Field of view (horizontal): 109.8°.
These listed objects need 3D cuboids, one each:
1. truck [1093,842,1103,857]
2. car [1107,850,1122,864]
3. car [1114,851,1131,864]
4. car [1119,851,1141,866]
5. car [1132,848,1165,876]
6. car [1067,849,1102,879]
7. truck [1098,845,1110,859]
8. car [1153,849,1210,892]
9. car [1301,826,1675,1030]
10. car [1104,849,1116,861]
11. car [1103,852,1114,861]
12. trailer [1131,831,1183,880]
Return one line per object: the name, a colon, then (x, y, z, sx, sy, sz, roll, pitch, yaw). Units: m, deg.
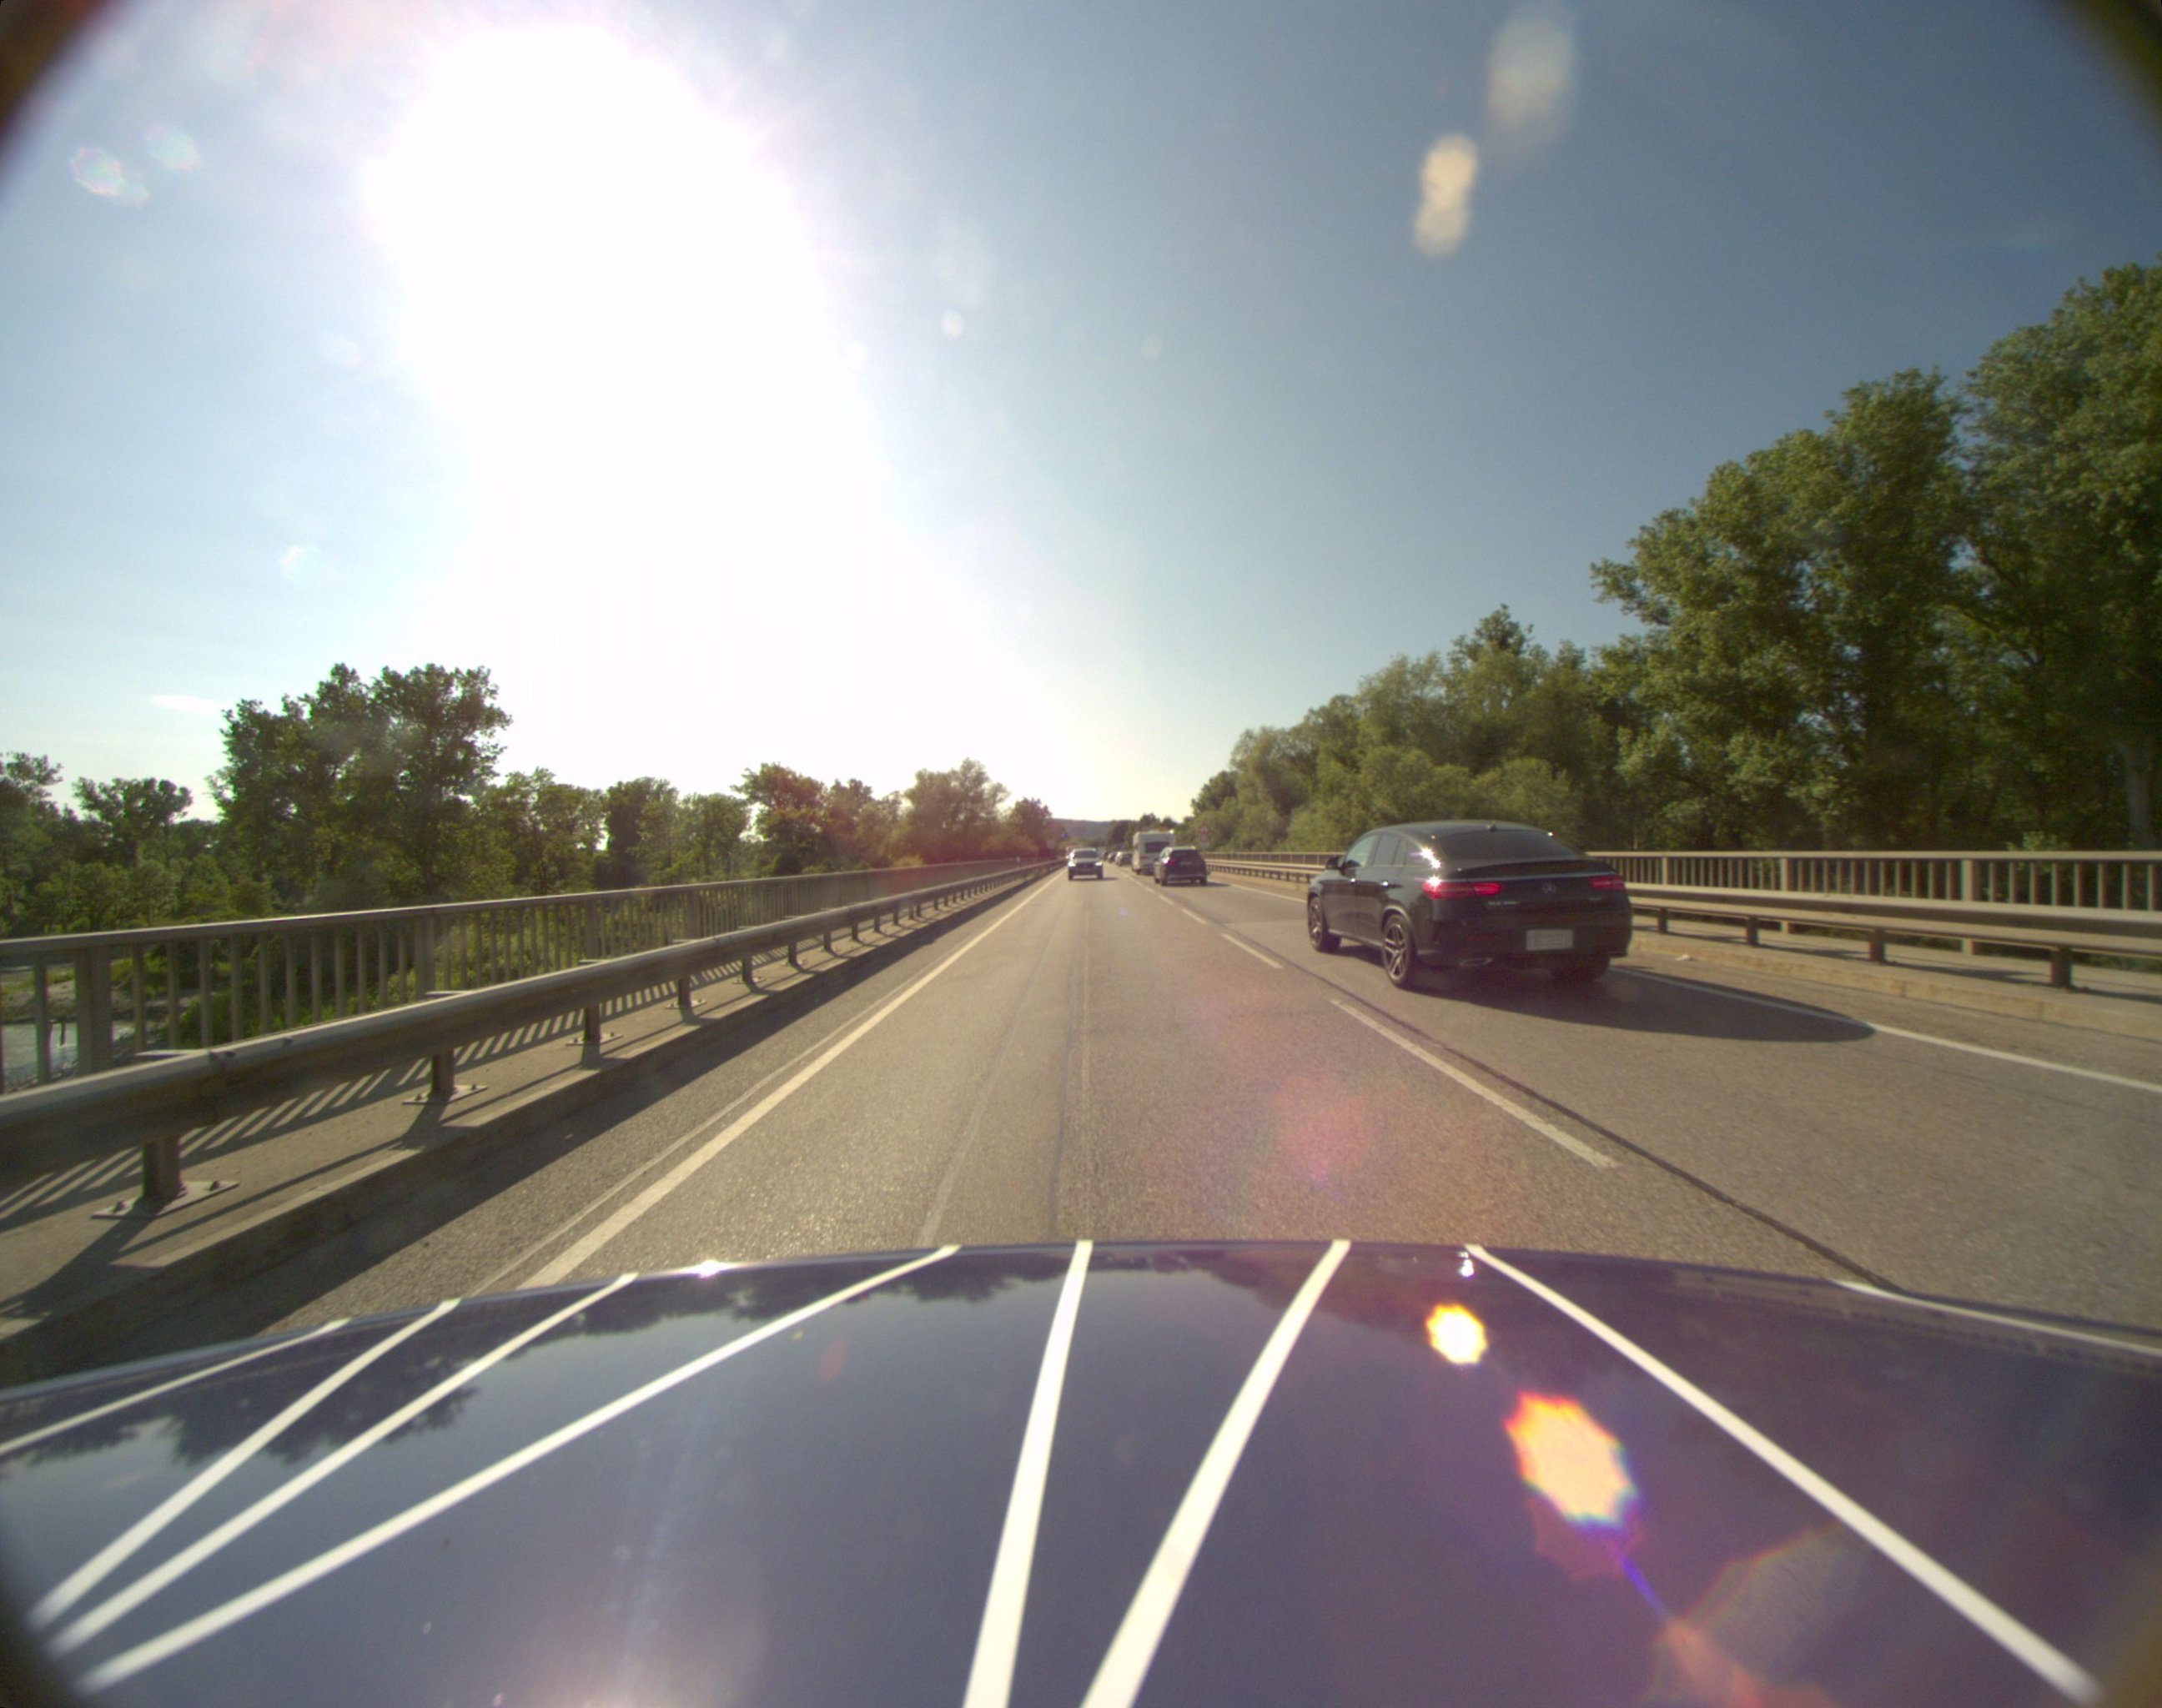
truck: (4.998, -1.257, 228.678, 2.744, 4.303, 8.129, -2, 0, 0)
car: (4.654, 0.382, 105.524, 1.972, 1.796, 4.530, -2, 0, 1)
car: (4.967, 0.377, 90.886, 1.736, 1.427, 4.486, 2, 0, 0)
car: (4.929, 0.462, 77.311, 1.791, 1.412, 4.650, -2, 0, -1)
car: (4.887, 0.528, 55.579, 1.988, 1.843, 5.008, -4, 0, 1)
car: (0.258, 0.533, 43.388, 1.871, 1.598, 4.380, 0, 0, 2)
truck: (5.748, -0.555, 190.326, 2.620, 3.235, 6.966, -2, 0, 0)
car: (4.263, 0.665, 32.889, 1.807, 1.651, 4.433, -2, 0, 0)
car: (4.161, 0.631, 8.796, 1.954, 1.684, 4.477, -3, 0, 1)
car: (5.095, 0.159, 133.969, 1.972, 1.796, 4.530, -4, 0, 1)
car: (5.509, 0.493, 151.995, 1.825, 1.537, 4.061, -4, 0, -1)
trailer: (4.776, 0.092, 49.055, 2.561, 2.721, 8.063, -4, 0, 2)
